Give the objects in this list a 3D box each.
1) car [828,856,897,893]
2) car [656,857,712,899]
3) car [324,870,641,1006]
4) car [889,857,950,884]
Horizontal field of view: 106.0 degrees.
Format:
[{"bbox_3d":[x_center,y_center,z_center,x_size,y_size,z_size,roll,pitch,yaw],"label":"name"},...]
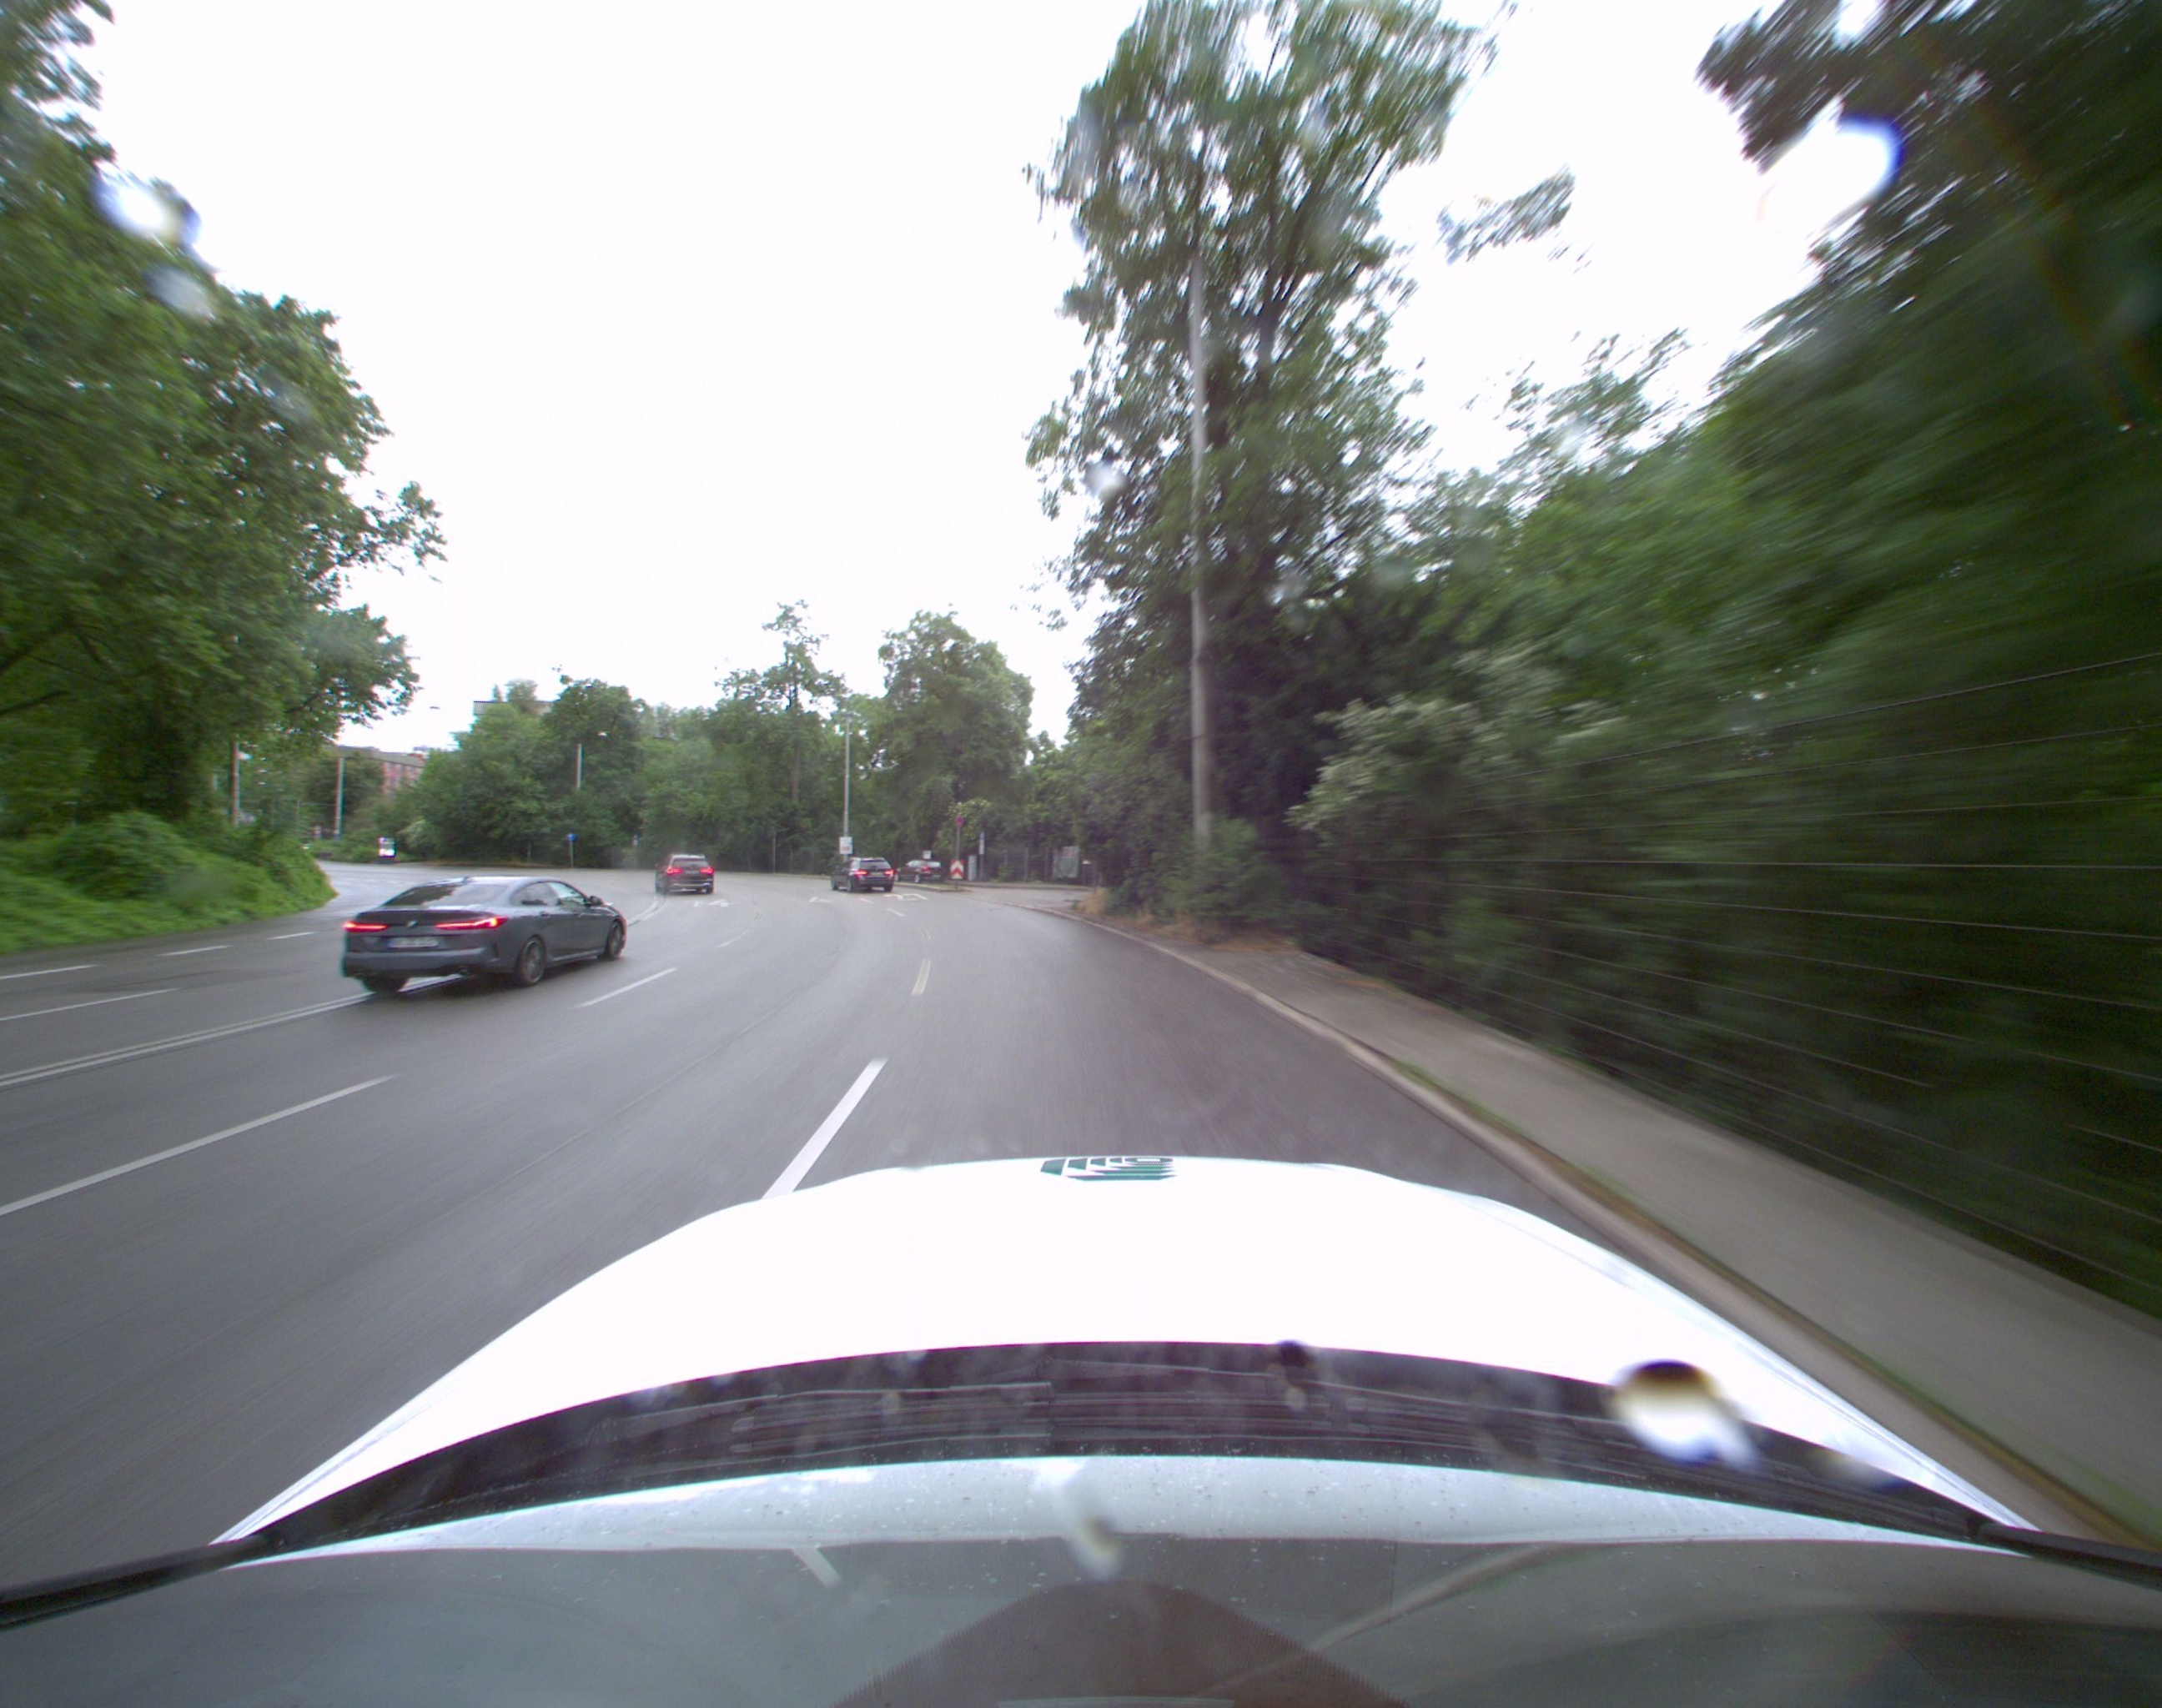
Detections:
[{"bbox_3d":[-9.453,0.883,35.003,1.769,1.432,4.370,-2,0,-30],"label":"car"},{"bbox_3d":[-16.826,0.956,34.451,1.769,1.586,4.369,-1,1,-31],"label":"car"},{"bbox_3d":[-8.015,0.988,11.527,1.665,1.415,4.526,-1,0,-9],"label":"car"},{"bbox_3d":[-9.887,0.983,49.615,1.701,1.427,4.320,4,-2,-40],"label":"car"}]
